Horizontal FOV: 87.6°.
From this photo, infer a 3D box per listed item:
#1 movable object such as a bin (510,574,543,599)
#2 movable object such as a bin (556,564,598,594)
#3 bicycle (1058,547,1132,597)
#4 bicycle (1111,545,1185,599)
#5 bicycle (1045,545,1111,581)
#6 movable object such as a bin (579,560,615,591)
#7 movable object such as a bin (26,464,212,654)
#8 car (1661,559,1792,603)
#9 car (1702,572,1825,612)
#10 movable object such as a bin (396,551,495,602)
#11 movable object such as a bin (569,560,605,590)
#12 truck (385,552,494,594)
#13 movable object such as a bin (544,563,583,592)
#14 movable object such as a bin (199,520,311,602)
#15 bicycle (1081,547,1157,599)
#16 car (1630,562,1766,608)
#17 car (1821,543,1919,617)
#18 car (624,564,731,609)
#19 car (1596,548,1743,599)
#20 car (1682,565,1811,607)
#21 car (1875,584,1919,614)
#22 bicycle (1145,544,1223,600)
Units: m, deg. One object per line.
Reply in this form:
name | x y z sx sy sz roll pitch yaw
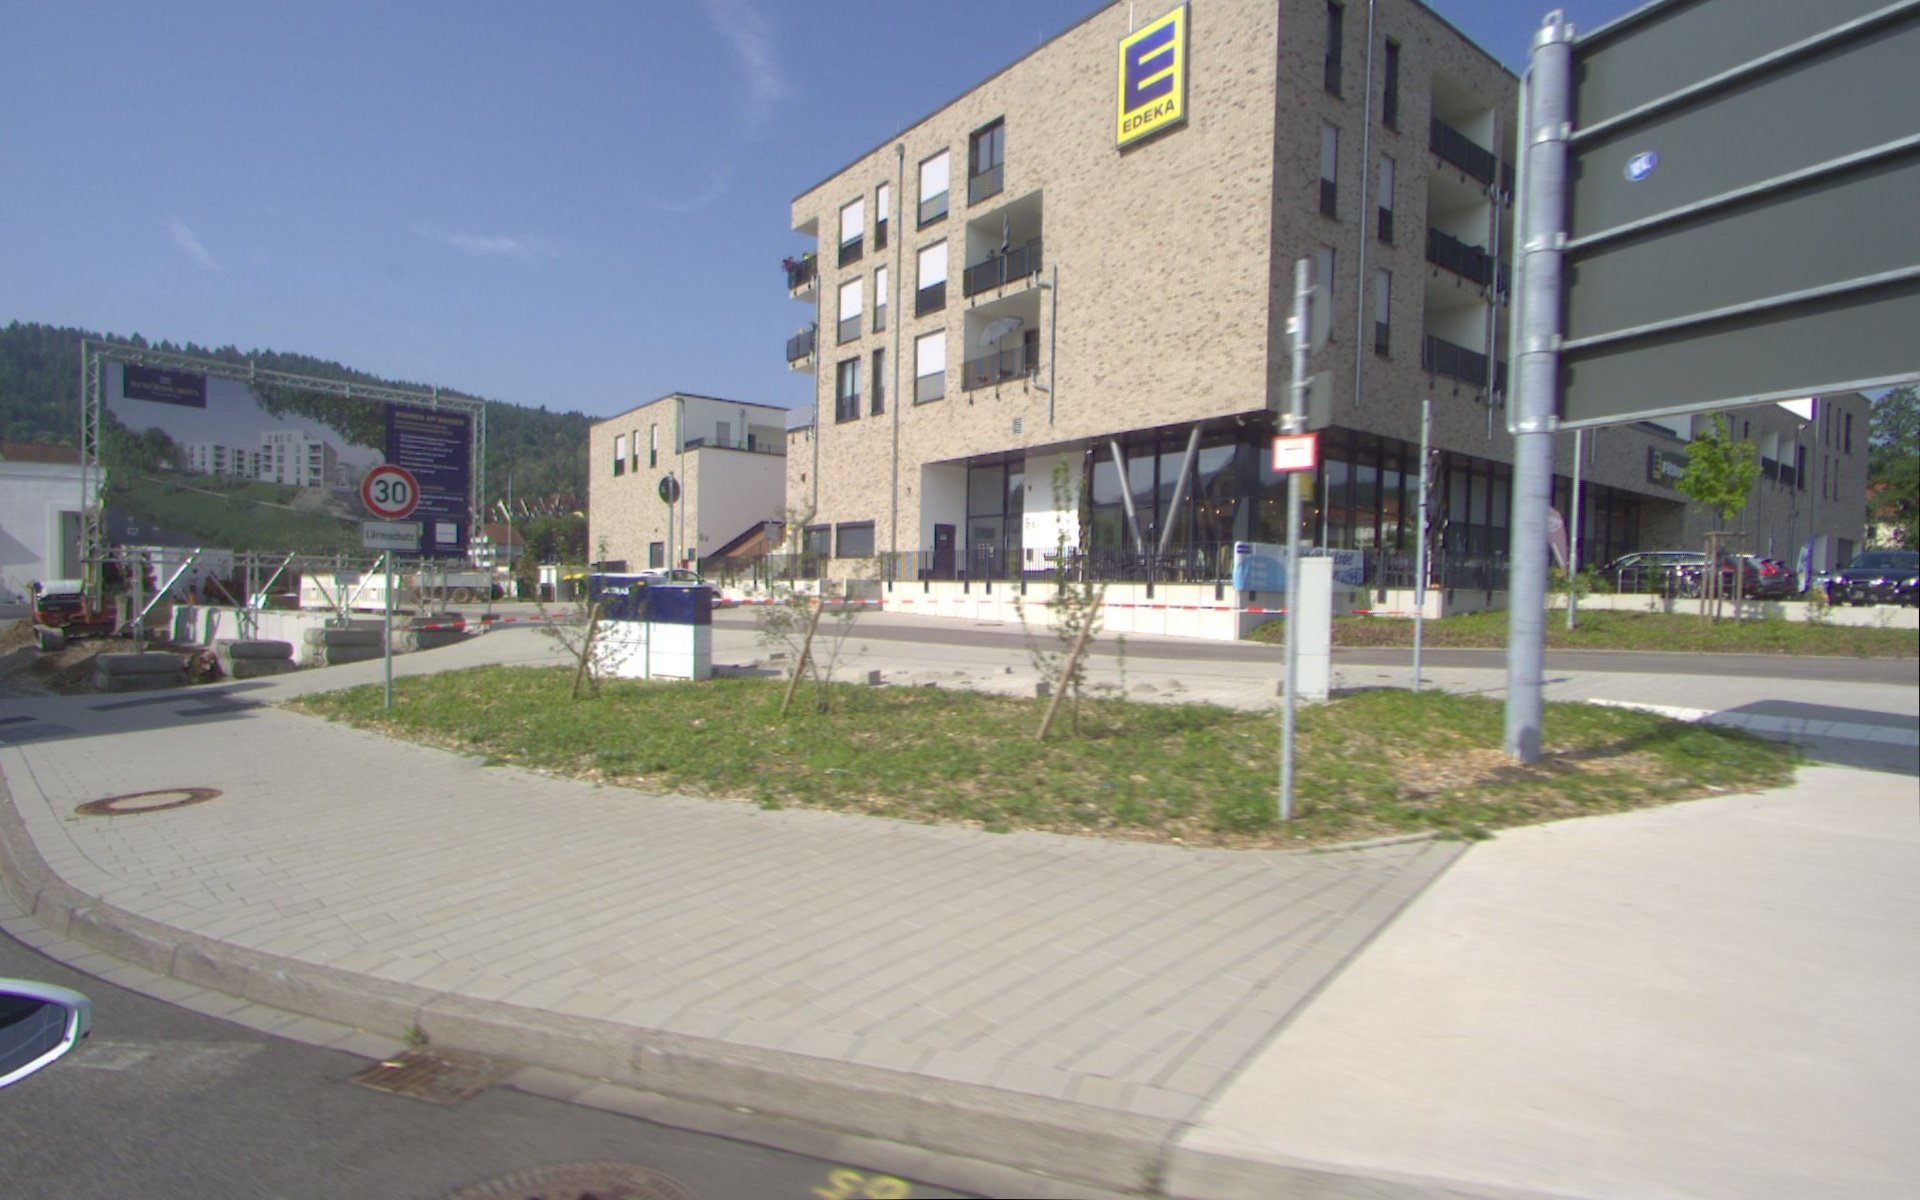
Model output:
movable object such as a bin | -24.098 -0.731 55.638 1.287 1.284 1.307 4 -1 -42
movable object such as a bin | -20.624 -1.115 53.874 1.682 1.483 1.307 4 -1 -42
bicycle | 3.601 -0.729 26.536 0.846 1.159 2.229 3 -1 40
bicycle | 4.701 -0.676 24.932 0.757 1.159 2.229 3 -1 40
bicycle | 3.744 -1.162 31.925 0.686 1.058 2.226 4 -1 -38
movable object such as a bin | -18.713 -1.271 51.584 1.291 1.483 1.307 4 0 -42
movable object such as a bin | -20.517 -0.866 24.238 7.709 3.903 2.285 1 -1 42
car | 26.993 -0.663 35.341 1.528 1.368 3.310 4 -1 -33
car | 30.689 -0.310 38.308 1.563 1.368 3.311 4 -1 -32
movable object such as a bin | -27.120 -1.245 52.962 4.556 2.604 1.916 -1 2 -27
movable object such as a bin | -19.604 -1.312 52.634 1.291 1.483 1.307 4 0 -42
truck | -28.921 -1.479 55.869 5.249 2.296 2.209 -1 1 -27
movable object such as a bin | -21.652 -1.230 54.699 1.570 1.483 1.307 4 -1 -42
movable object such as a bin | -35.408 -1.851 50.569 2.810 3.669 5.723 4 -1 -17
bicycle | 4.112 -0.686 25.726 0.846 1.159 2.229 3 -1 40
car | 24.486 -0.519 33.325 1.473 1.368 3.308 4 -1 -35
car | 22.298 -0.516 23.881 4.408 1.578 1.841 -2 5 -39
car | -9.922 -0.462 35.369 1.574 1.515 3.392 0 1 37
car | 21.059 -0.794 29.774 1.477 1.368 3.299 4 -1 -43
car | 28.586 -0.506 36.471 1.563 1.368 3.311 4 -1 -32
car | 46.602 -0.017 48.480 3.297 1.368 1.613 3 -1 45
bicycle | 5.386 -0.654 24.015 0.846 1.159 2.229 3 -1 40
